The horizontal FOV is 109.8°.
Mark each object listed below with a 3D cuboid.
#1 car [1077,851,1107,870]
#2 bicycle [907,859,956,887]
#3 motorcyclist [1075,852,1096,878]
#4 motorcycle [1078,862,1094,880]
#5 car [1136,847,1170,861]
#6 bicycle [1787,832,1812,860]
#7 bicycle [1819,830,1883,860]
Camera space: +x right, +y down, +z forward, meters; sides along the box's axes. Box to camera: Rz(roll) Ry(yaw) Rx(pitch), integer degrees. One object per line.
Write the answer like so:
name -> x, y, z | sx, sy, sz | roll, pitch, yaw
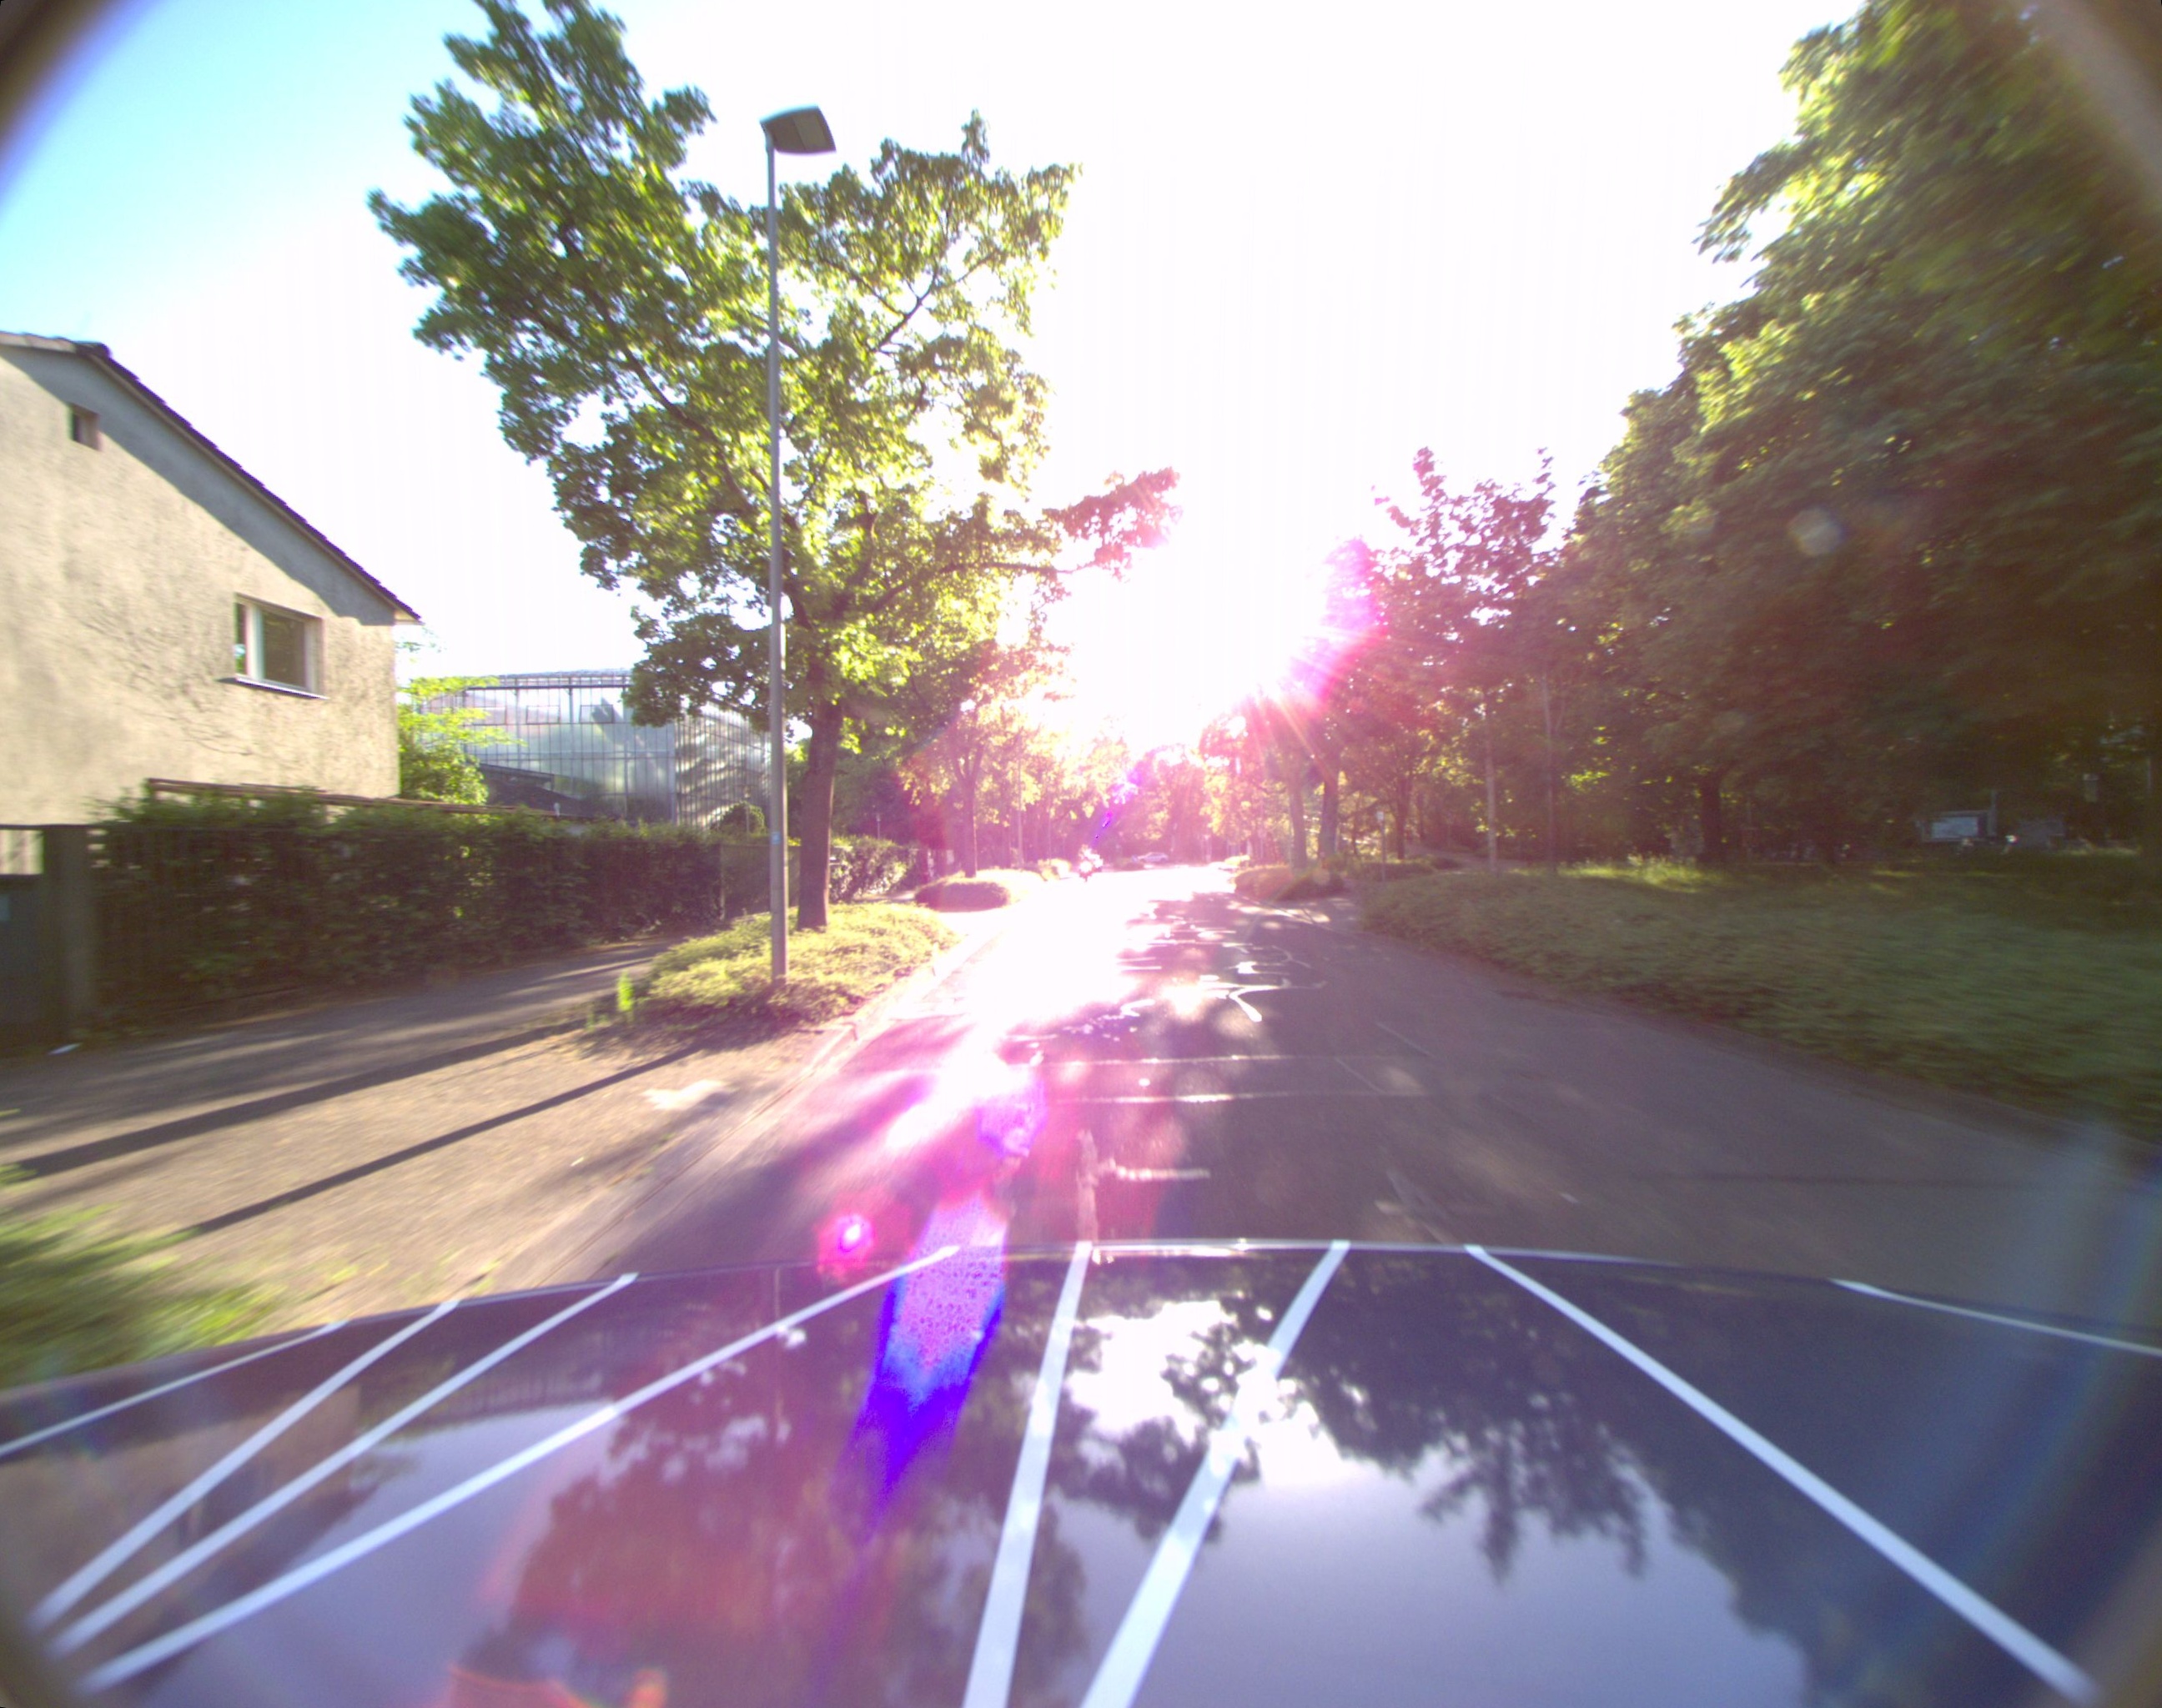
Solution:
car -> 0.901, 0.513, 61.416 | 1.998, 1.365, 4.175 | -2, 0, 6
bicycle -> -6.574, 0.828, 33.588 | 0.884, 1.193, 2.330 | 1, 0, 26
motorcyclist -> 0.274, 0.599, 43.082 | 1.138, 1.419, 1.566 | -3, 0, 1
motorcycle -> 0.288, 0.968, 43.064 | 0.807, 0.907, 2.712 | -3, 0, 1
car -> 9.937, -0.046, 105.119 | 4.366, 1.750, 1.572 | -3, 1, 0
bicycle -> 29.378, -0.330, 31.077 | 0.536, 1.065, 2.434 | -5, -2, 40
bicycle -> 30.226, -0.352, 29.887 | 0.536, 1.065, 2.638 | -6, -1, 18
